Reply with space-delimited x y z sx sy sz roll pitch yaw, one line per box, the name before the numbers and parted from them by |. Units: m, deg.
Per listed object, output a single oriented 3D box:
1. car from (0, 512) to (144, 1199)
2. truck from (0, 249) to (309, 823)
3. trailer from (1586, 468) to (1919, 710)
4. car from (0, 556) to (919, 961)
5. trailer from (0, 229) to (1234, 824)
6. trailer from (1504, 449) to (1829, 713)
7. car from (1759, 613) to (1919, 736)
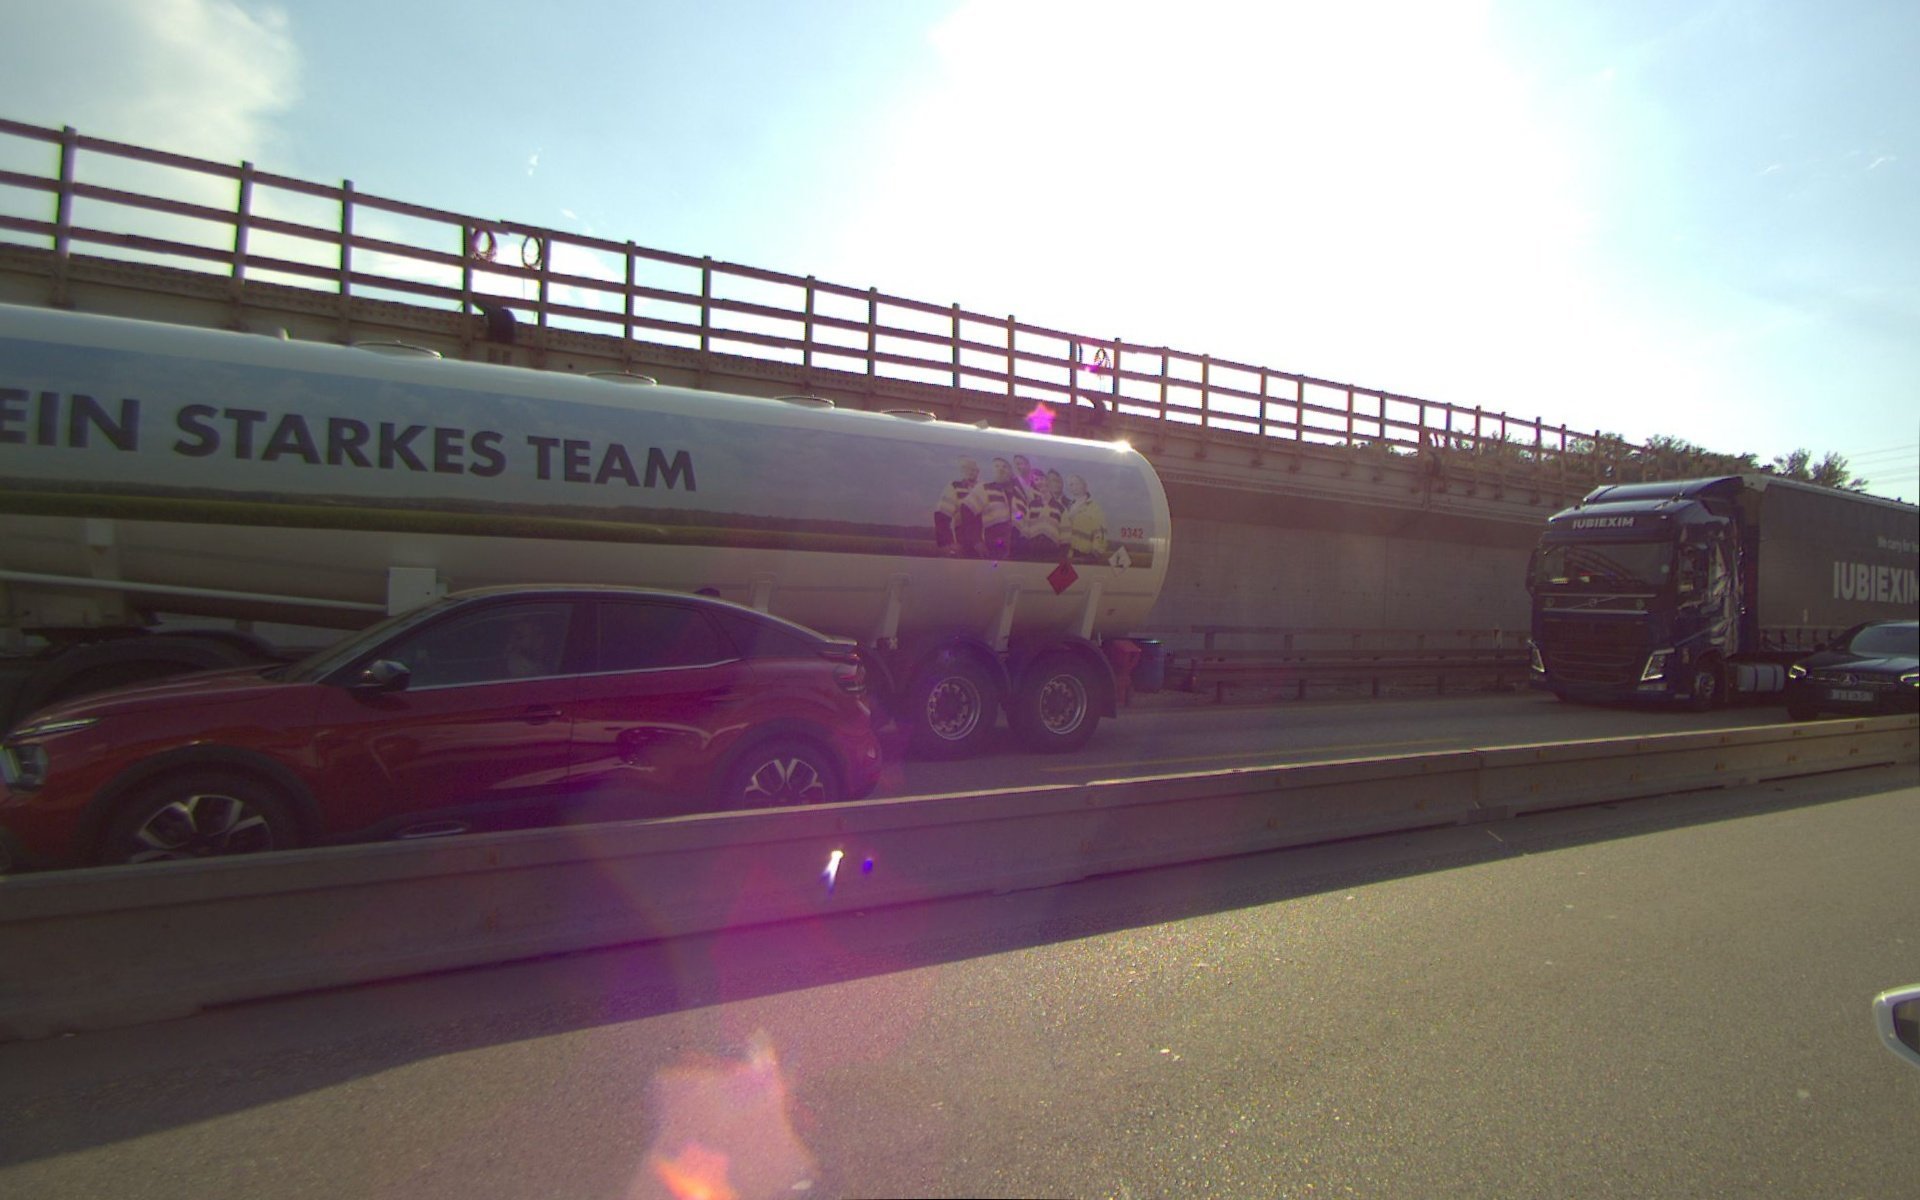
car | -3.401 0.576 0.610 4.223 1.609 1.672 3 -2 -31
truck | -7.582 -0.446 6.456 5.468 3.454 2.536 2 0 -31
trailer | 19.021 -0.096 22.207 13.863 4.197 2.750 1 0 -31
car | -2.507 0.649 5.658 4.248 1.578 1.716 1 0 -31
trailer | -2.174 -0.263 9.629 10.557 3.573 2.544 2 0 -30
trailer | 13.195 -0.264 18.692 5.907 4.197 2.751 1 0 -31
car | 14.604 1.134 15.828 4.636 1.666 1.632 2 -1 -31
